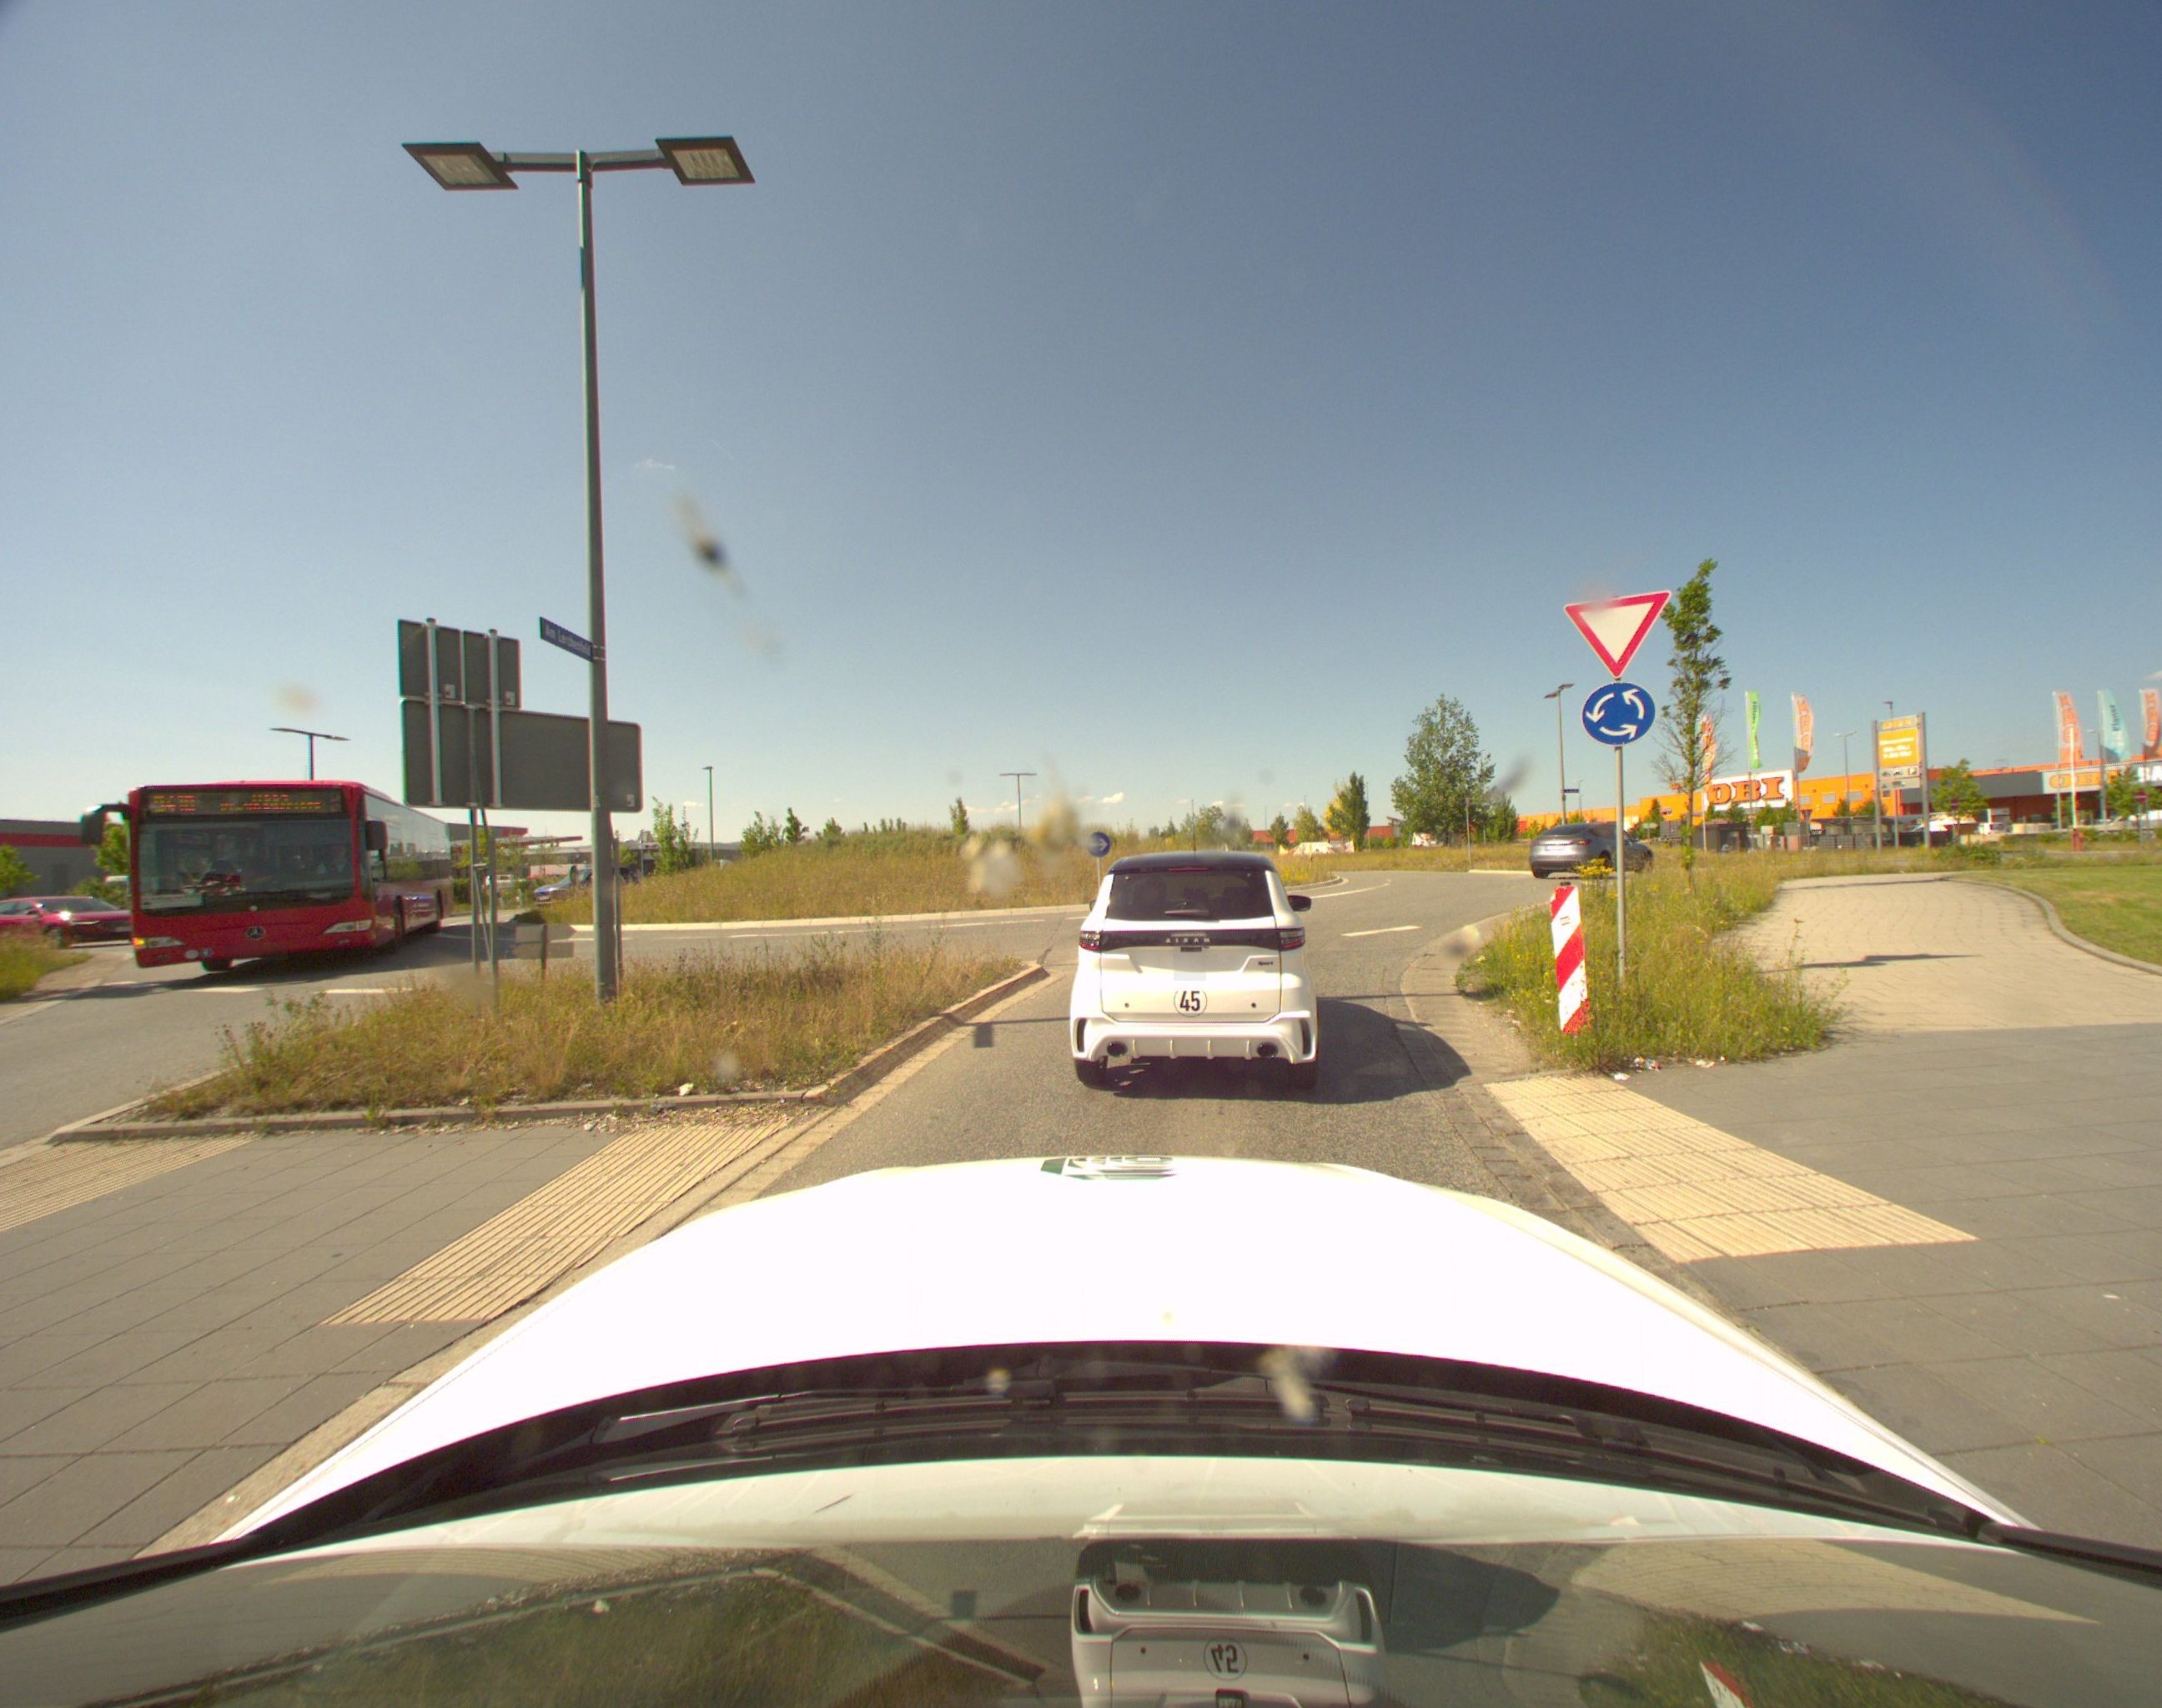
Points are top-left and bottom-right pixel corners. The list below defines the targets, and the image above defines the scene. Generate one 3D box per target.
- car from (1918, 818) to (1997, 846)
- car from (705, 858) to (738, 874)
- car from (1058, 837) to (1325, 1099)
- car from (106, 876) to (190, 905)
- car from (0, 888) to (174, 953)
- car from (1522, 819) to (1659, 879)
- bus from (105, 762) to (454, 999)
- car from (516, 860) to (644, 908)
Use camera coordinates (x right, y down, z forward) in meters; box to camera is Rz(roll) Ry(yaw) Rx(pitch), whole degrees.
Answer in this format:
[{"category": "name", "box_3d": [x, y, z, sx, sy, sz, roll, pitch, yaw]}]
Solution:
[{"category": "car", "box_3d": [59.143, -1.460, 54.979, 3.756, 1.841, 1.697, 0, -1, -5]}, {"category": "car", "box_3d": [-41.763, 1.415, 94.726, 1.987, 1.732, 3.999, -2, -1, 0]}, {"category": "car", "box_3d": [0.954, 0.632, 6.391, 1.499, 1.440, 3.362, -1, 2, 11]}, {"category": "car", "box_3d": [-72.853, 2.855, 63.658, 1.989, 2.013, 3.996, -2, 0, -3]}, {"category": "car", "box_3d": [-28.036, 1.832, 22.482, 4.083, 1.415, 1.812, -3, 3, 6]}, {"category": "car", "box_3d": [14.946, -0.174, 23.832, 4.184, 1.584, 1.812, -2, 0, -34]}, {"category": "bus", "box_3d": [-15.289, 0.374, 16.779, 2.628, 3.241, 11.758, -4, 1, -33]}, {"category": "car", "box_3d": [-20.687, 1.207, 33.820, 1.834, 1.635, 4.104, -3, 1, 25]}]
